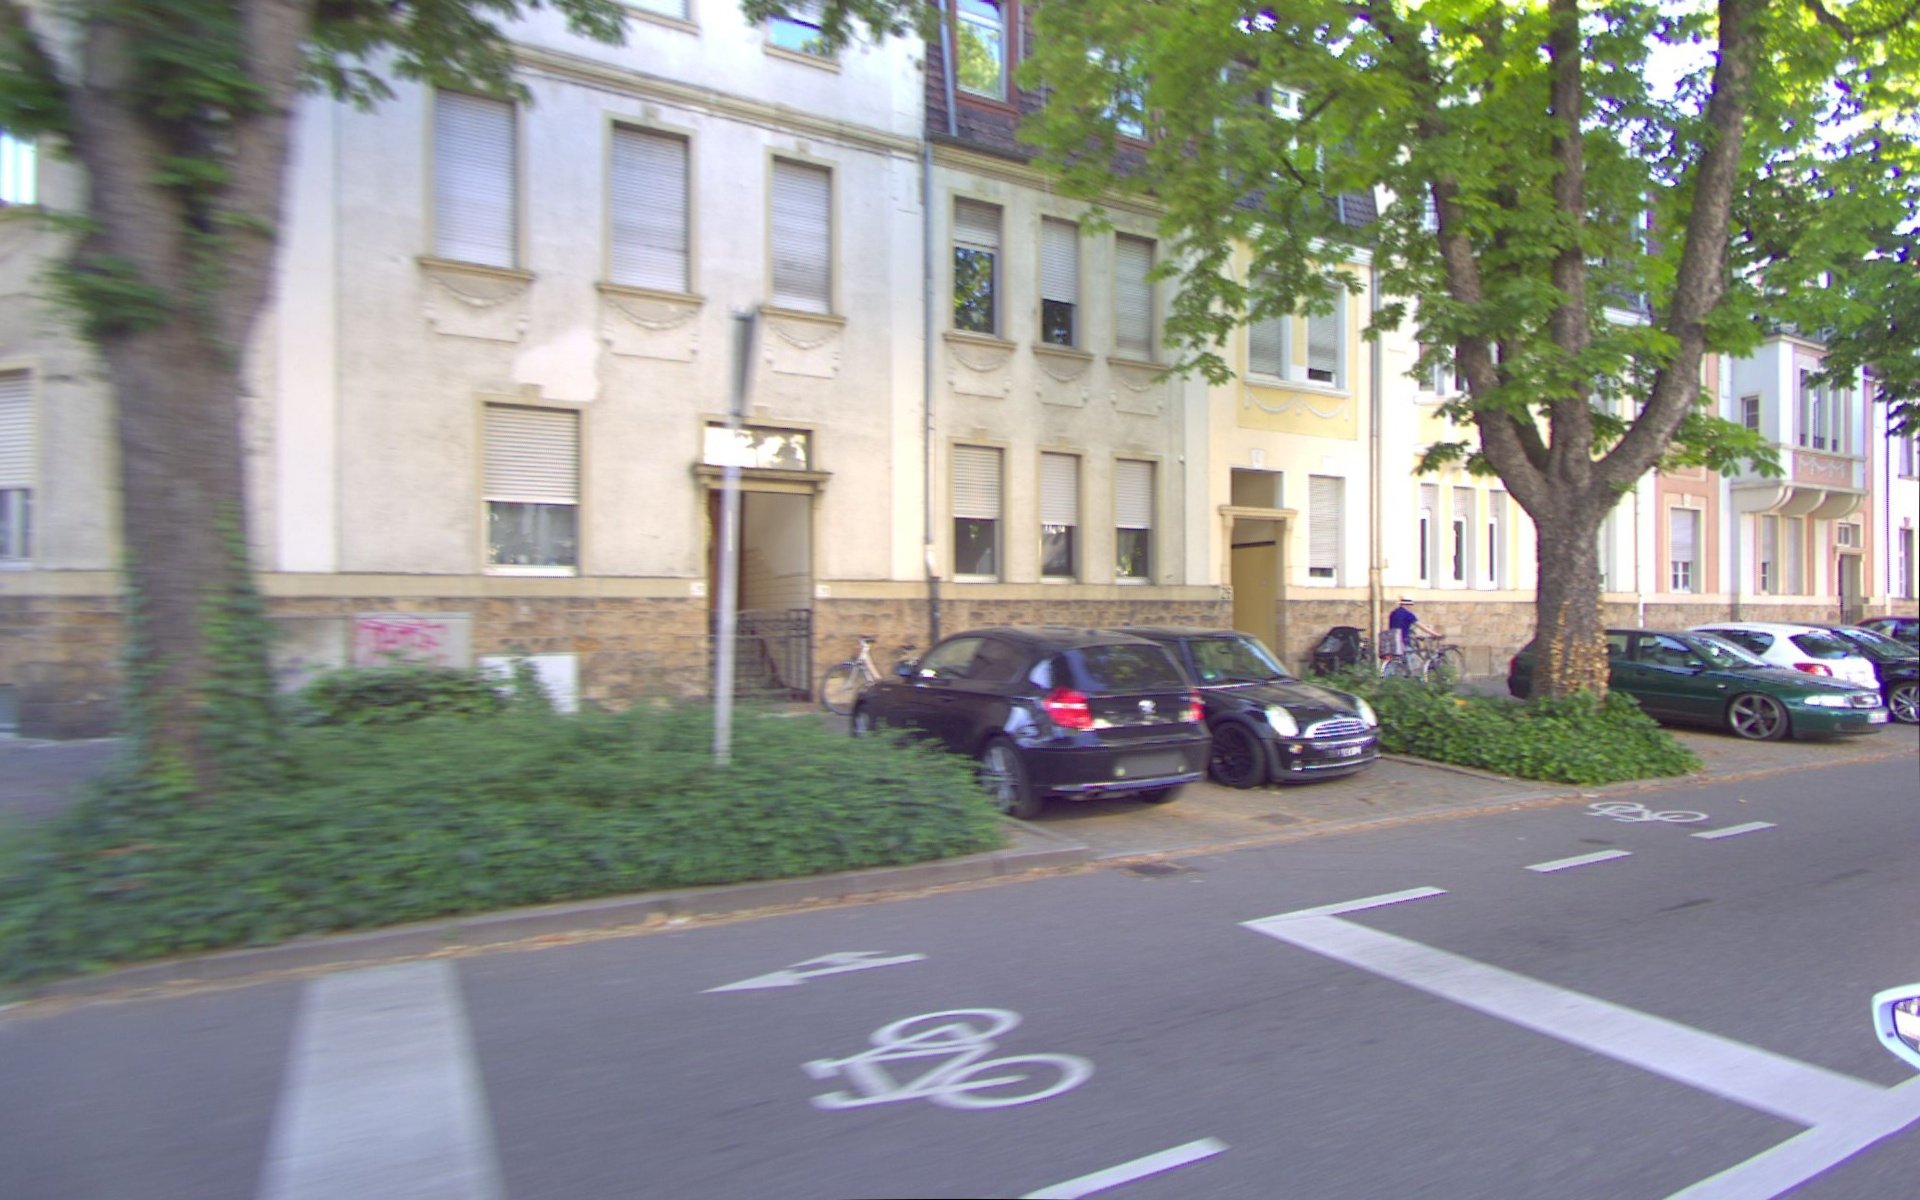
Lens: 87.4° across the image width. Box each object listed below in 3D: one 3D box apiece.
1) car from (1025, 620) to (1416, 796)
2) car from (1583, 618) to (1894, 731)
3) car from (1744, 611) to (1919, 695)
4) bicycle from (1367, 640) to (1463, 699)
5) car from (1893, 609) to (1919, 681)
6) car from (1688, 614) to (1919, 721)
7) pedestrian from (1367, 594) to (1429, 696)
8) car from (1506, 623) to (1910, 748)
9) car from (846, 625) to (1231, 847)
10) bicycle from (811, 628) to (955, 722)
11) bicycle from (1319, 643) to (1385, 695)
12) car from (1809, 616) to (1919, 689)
[{"bbox_3d":[2.464,0.937,10.380,1.598,1.434,3.859,1,-1,-33],"label":"car"},{"bbox_3d":[11.844,1.059,15.513,1.680,1.471,3.423,1,-1,-25],"label":"car"},{"bbox_3d":[17.965,1.007,19.509,1.700,1.527,3.974,1,-2,-26],"label":"car"},{"bbox_3d":[7.408,1.115,16.354,1.573,0.924,0.471,1,-1,-21],"label":"bicycle"},{"bbox_3d":[22.574,1.008,21.099,1.839,1.587,3.973,1,0,-26],"label":"car"},{"bbox_3d":[14.258,1.012,15.993,1.762,1.502,3.973,1,0,-26],"label":"car"},{"bbox_3d":[7.326,0.745,16.811,0.881,1.680,0.459,0,-1,-20],"label":"pedestrian"},{"bbox_3d":[10.067,1.054,13.917,1.682,1.367,4.195,1,-1,-28],"label":"car"},{"bbox_3d":[0.437,0.985,8.882,1.595,1.495,3.868,1,-2,-28],"label":"car"},{"bbox_3d":[-1.050,0.998,13.869,1.957,1.170,0.511,-1,2,-28],"label":"bicycle"},{"bbox_3d":[6.824,1.181,17.493,0.956,0.827,0.570,1,2,-30],"label":"bicycle"},{"bbox_3d":[20.100,1.085,20.419,1.806,1.422,3.973,1,0,-26],"label":"car"}]
